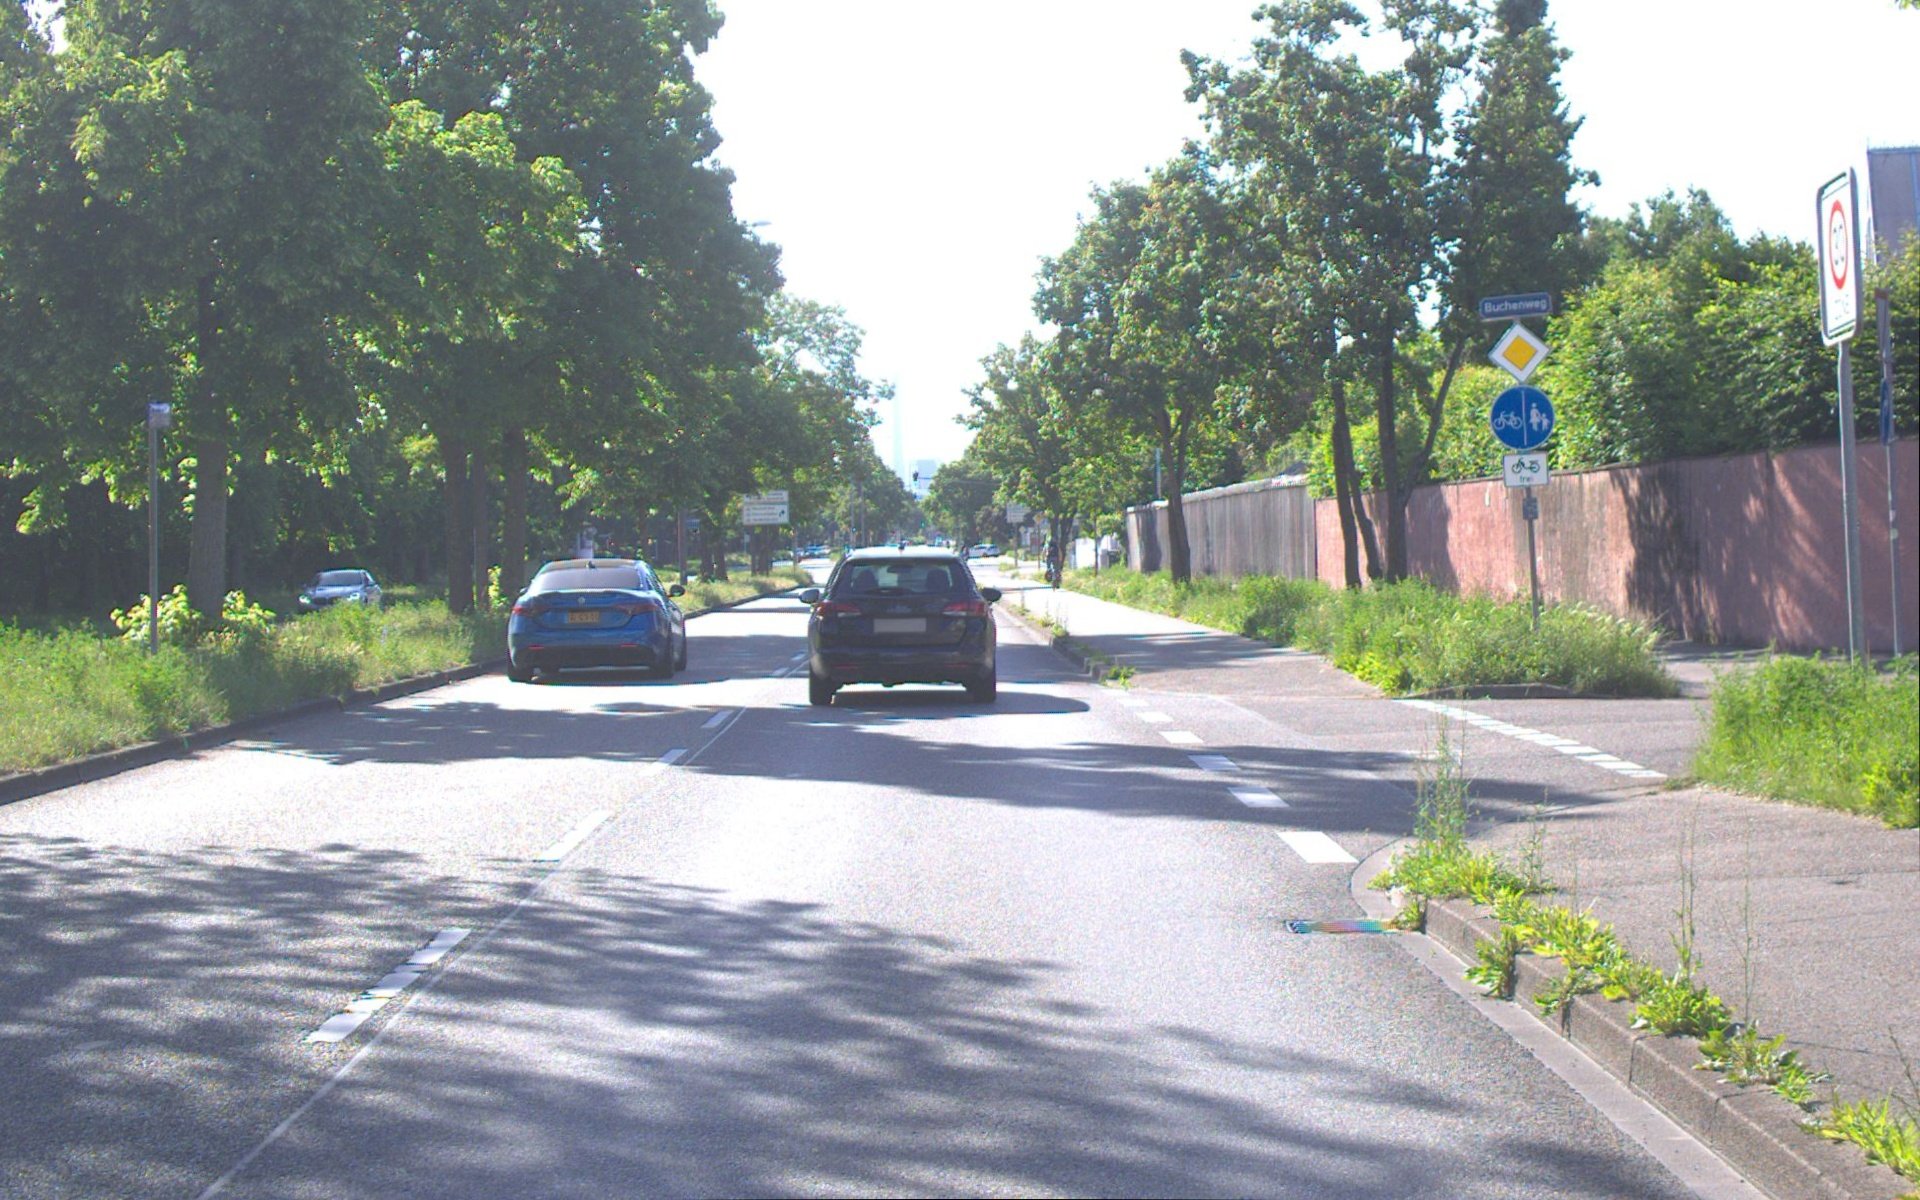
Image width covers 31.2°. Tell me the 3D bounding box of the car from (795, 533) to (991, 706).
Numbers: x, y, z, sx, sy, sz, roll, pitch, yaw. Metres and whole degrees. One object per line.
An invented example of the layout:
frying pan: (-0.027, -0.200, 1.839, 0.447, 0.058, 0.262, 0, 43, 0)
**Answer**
car: (-0.592, 0.151, 33.265, 1.760, 1.554, 4.000, 1, 1, 1)

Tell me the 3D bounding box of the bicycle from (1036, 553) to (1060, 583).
bicycle: (2.727, -1.003, 106.739, 0.655, 0.889, 1.875, -1, 1, -1)

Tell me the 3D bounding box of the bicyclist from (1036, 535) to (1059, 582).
bicyclist: (2.719, -1.291, 106.725, 0.680, 1.414, 0.812, -1, 1, 0)

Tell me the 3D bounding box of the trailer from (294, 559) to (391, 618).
trailer: (-16.690, -0.331, 93.132, 1.740, 1.419, 4.496, -3, 1, 0)

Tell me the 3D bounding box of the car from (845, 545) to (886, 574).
car: (-5.099, -2.173, 185.095, 1.978, 1.435, 4.001, -1, 2, -4)

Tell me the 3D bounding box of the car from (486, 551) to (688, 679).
car: (-4.396, 0.144, 41.059, 1.994, 1.400, 4.000, -1, 1, -1)
